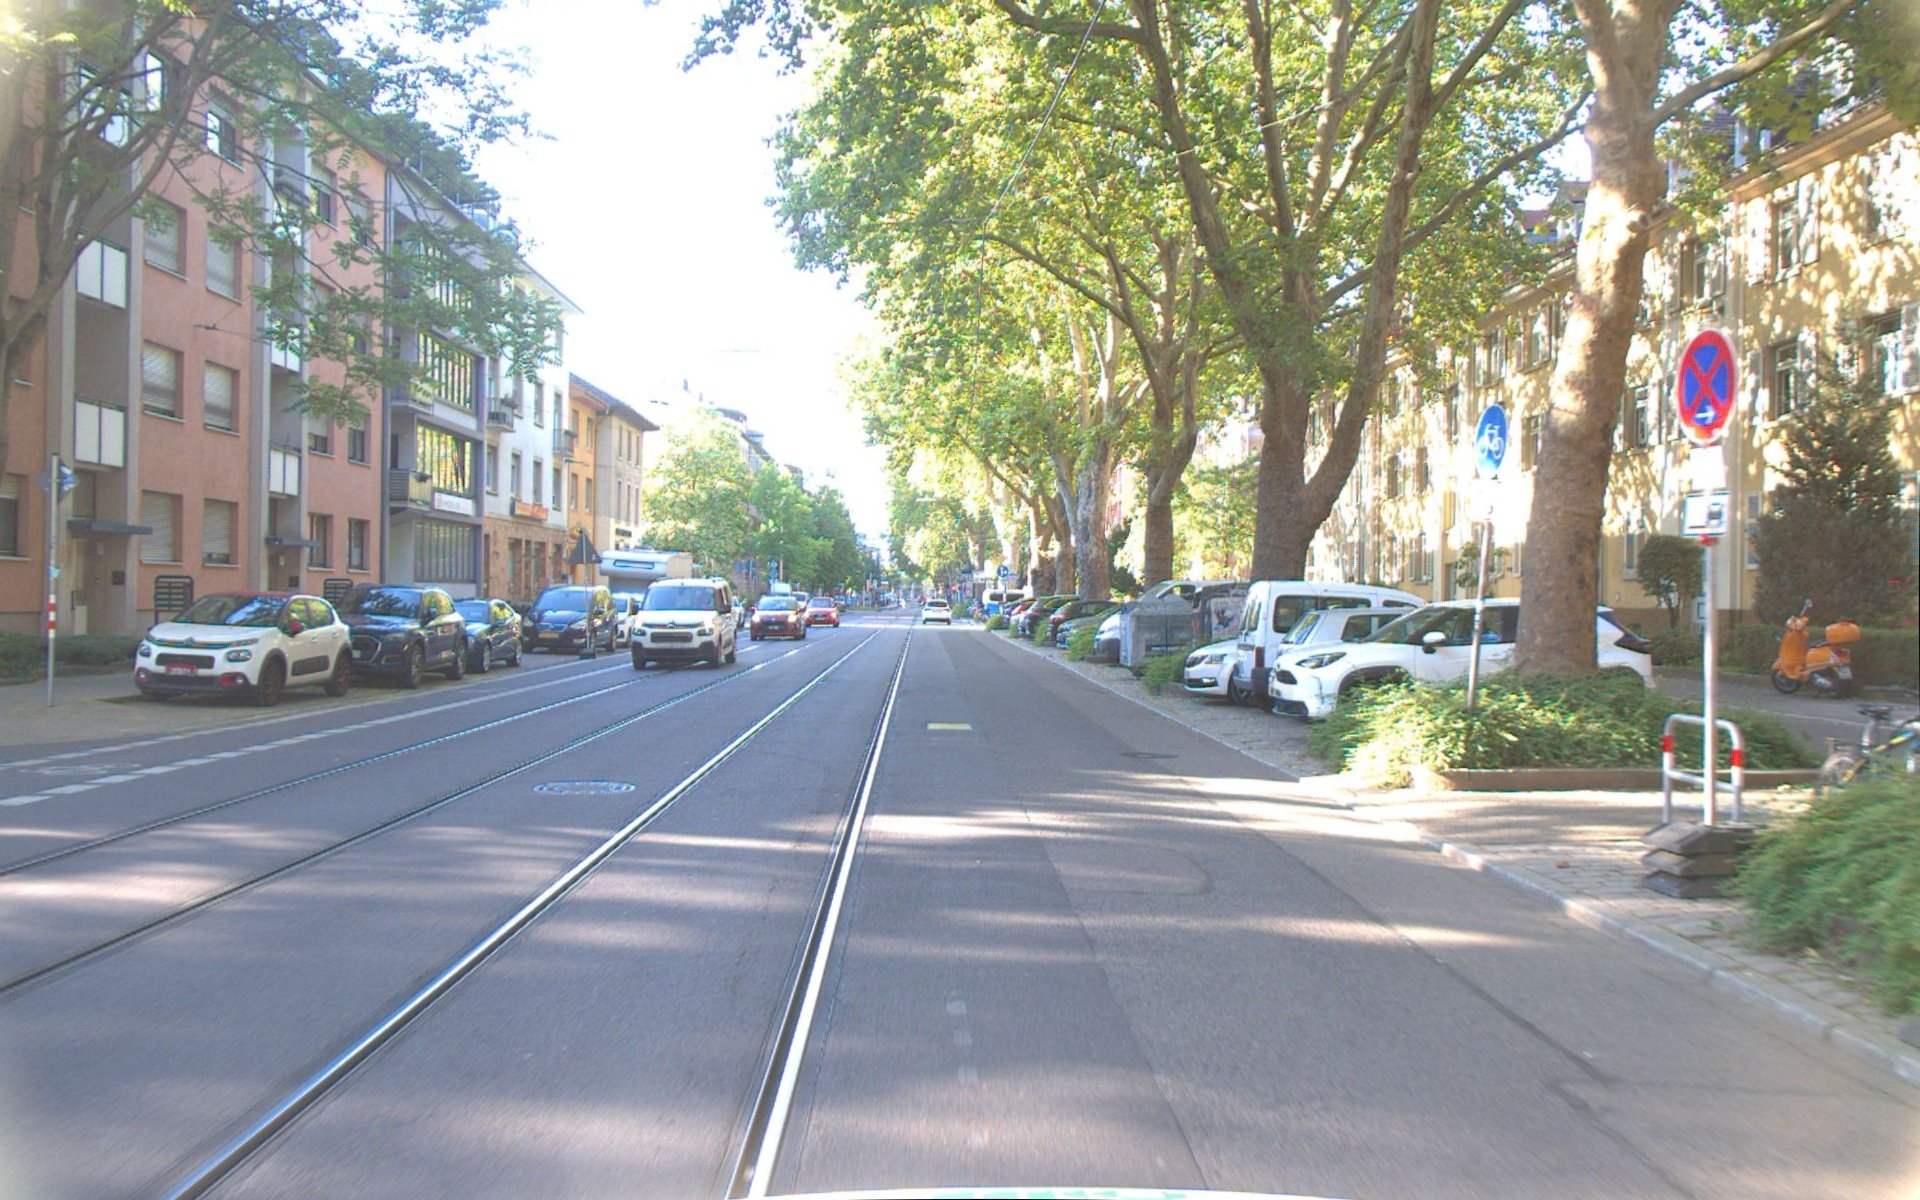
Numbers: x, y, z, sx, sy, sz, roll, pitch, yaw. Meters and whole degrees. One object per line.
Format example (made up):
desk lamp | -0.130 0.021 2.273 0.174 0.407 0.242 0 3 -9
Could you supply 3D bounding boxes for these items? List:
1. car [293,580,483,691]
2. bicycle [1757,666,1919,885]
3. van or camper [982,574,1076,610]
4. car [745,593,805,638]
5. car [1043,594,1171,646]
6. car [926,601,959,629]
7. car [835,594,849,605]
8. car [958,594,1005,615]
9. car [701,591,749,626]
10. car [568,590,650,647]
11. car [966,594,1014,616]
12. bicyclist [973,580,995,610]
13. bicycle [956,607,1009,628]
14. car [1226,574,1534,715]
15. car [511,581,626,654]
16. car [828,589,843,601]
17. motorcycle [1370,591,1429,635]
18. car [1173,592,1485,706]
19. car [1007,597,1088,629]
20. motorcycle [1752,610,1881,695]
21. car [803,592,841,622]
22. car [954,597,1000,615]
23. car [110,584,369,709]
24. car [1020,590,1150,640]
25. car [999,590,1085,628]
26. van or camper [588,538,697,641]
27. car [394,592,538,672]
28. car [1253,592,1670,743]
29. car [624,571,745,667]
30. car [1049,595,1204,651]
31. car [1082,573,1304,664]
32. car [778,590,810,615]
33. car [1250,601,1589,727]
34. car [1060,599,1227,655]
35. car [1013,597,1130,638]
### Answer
car | -9.703 0.547 28.452 1.745 1.638 4.586 4 0 -2
bicycle | 5.408 0.974 9.638 0.622 1.089 1.808 1 0 -1
van or camper | 4.209 -0.490 101.547 5.448 2.048 2.242 0 3 -6
car | -6.443 0.508 57.980 1.740 1.483 4.201 -1 0 -2
car | 4.486 0.603 50.908 3.761 1.536 1.710 1 0 -2
car | -1.082 0.886 98.298 1.879 1.612 3.790 -1 0 -2
car | -17.468 -0.052 244.768 1.881 1.444 3.585 -2 -1 -6
car | 1.834 0.377 141.540 3.906 1.816 1.999 0 0 -1
car | -11.135 0.388 78.656 1.800 1.494 5.066 4 0 -3
car | -10.343 0.515 48.953 1.676 1.514 3.860 4 0 -2
car | 2.499 0.425 138.295 3.906 1.816 1.999 0 0 -1
bicyclist | 1.368 -0.295 94.526 1.027 1.735 1.055 1 0 -11
bicycle | 1.267 1.007 94.522 2.895 1.124 1.049 1 0 -11
car | 5.655 0.573 22.633 3.764 1.803 1.917 1 0 2
car | -10.098 0.419 43.066 1.913 1.716 5.068 3 0 -2
car | -15.625 -0.600 208.134 1.880 1.443 3.718 0 0 -4
motorcycle | 14.665 0.439 55.180 1.768 1.385 0.622 -2 0 -4
car | 5.402 0.702 24.652 4.279 1.569 1.802 1 1 2
car | 3.969 0.573 75.268 3.576 1.402 1.889 1 0 -1
motorcycle | 12.632 0.750 24.475 0.700 1.173 2.263 0 0 -1
car | -6.936 0.334 83.569 1.688 1.462 4.068 -1 0 -2
car | 1.470 0.493 143.836 3.906 1.547 1.999 0 0 -1
car | -9.869 0.592 23.016 1.769 1.504 4.089 3 0 -1
car | 4.330 0.516 57.538 4.402 1.630 2.028 -1 0 2
car | 3.830 0.425 77.488 3.845 1.699 1.960 1 0 -3
van or camper | -10.511 -0.345 55.287 2.290 3.093 6.396 4 0 -1
car | -9.936 0.602 33.599 1.703 1.425 4.381 3 0 -2
car | 5.420 0.714 18.237 4.006 1.548 1.915 1 -1 -3
car | -5.735 0.371 34.927 1.853 1.864 4.894 1 0 -2
car | 4.696 0.632 47.005 4.161 1.509 1.897 1 0 -2
car | 5.306 0.412 38.119 4.740 1.997 2.063 1 0 -4
car | -12.999 0.175 129.681 2.129 1.893 4.657 0 0 -1
car | 5.640 0.759 20.670 3.764 1.458 1.852 1 0 2
car | 4.846 0.710 44.128 4.305 1.404 1.804 1 0 2
car | 4.145 0.657 62.011 4.209 1.464 1.947 1 0 -3
